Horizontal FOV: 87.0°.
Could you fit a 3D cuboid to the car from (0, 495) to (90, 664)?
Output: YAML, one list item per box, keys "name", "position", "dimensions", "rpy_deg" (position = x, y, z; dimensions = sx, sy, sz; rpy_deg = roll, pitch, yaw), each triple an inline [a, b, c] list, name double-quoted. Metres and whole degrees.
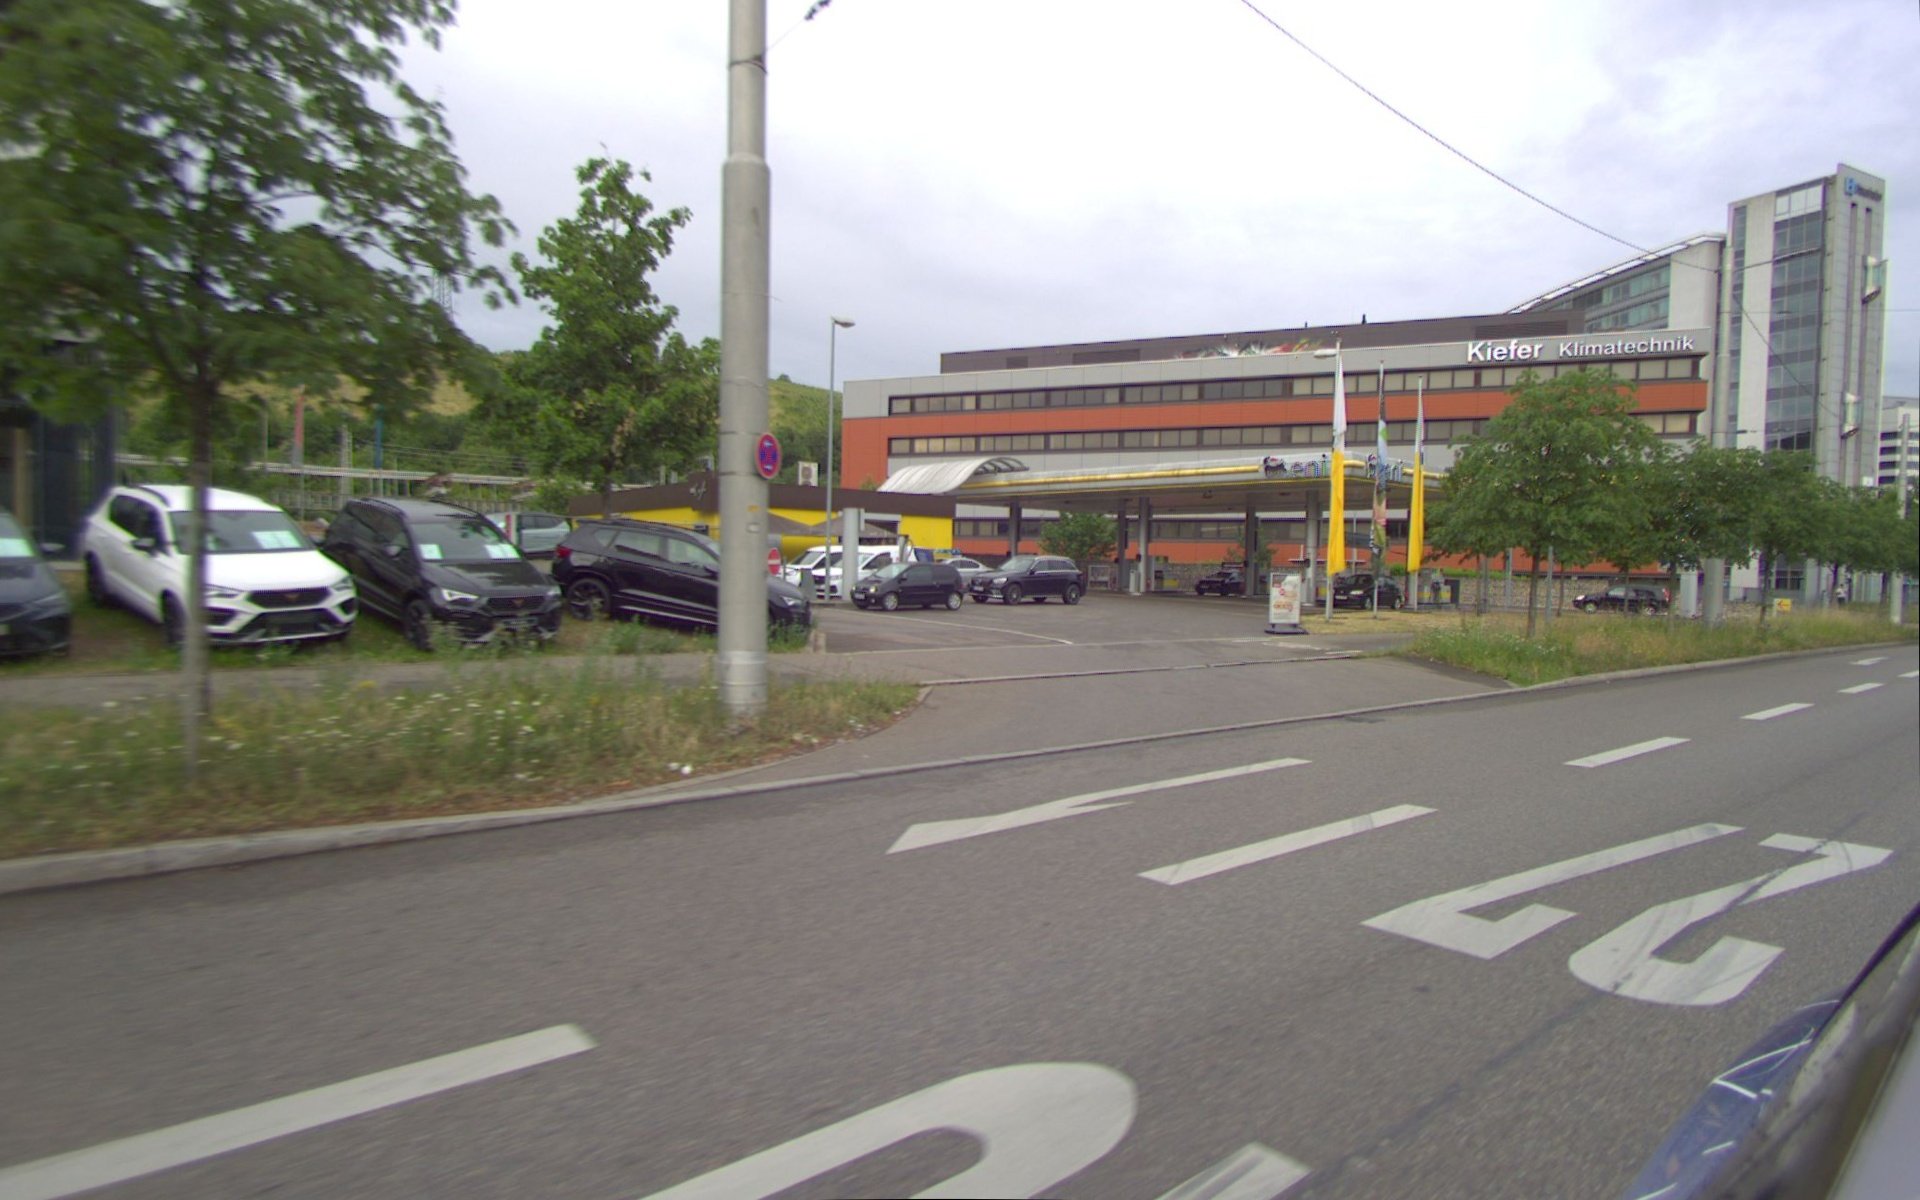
- name: "car"
  position: [-11.288, -0.344, 11.093]
  dimensions: [4.477, 1.657, 1.797]
  rpy_deg: [5, 4, 37]

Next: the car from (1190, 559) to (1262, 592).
- name: "car"
  position: [14.905, -1.355, 56.688]
  dimensions: [3.930, 1.668, 1.903]
  rpy_deg: [0, 6, -41]

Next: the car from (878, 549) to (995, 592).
- name: "car"
  position: [-0.935, -1.210, 42.047]
  dimensions: [4.635, 1.628, 1.998]
  rpy_deg: [0, 3, -41]

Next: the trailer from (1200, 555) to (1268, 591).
- name: "trailer"
  position: [17.866, -1.786, 65.965]
  dimensions: [3.958, 2.173, 1.824]
  rpy_deg: [3, 2, 25]

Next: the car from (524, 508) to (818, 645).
- name: "car"
  position: [-4.605, -0.402, 16.691]
  dimensions: [4.303, 1.838, 1.882]
  rpy_deg: [4, 3, -5]

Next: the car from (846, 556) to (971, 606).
- name: "car"
  position: [-1.474, -0.546, 29.435]
  dimensions: [3.426, 1.354, 1.395]
  rpy_deg: [0, 3, -38]

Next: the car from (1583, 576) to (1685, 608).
- name: "car"
  position: [35.649, -0.407, 53.670]
  dimensions: [4.321, 1.667, 1.776]
  rpy_deg: [0, 0, 29]

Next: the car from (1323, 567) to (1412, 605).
- name: "car"
  position: [16.829, -0.578, 41.728]
  dimensions: [3.714, 1.436, 1.784]
  rpy_deg: [0, 3, -40]

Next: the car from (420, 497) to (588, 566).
- name: "car"
  position: [-12.524, -1.846, 28.124]
  dimensions: [1.821, 1.664, 4.291]
  rpy_deg: [2, 1, 18]

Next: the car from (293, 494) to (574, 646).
- name: "car"
  position: [-7.507, -0.512, 14.250]
  dimensions: [4.368, 1.811, 1.854]
  rpy_deg: [5, 4, 38]

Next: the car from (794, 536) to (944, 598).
- name: "car"
  position: [-2.944, -1.070, 33.407]
  dimensions: [4.634, 1.882, 1.998]
  rpy_deg: [0, 3, -41]

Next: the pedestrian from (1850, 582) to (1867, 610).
- name: "pedestrian"
  position: [62.305, -0.247, 70.196]
  dimensions: [0.675, 1.925, 0.673]
  rpy_deg: [0, -1, 26]

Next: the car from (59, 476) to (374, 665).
- name: "car"
  position: [-9.475, -0.475, 12.782]
  dimensions: [4.470, 2.015, 1.800]
  rpy_deg: [4, 3, 34]

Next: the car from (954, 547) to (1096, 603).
- name: "car"
  position: [2.267, -0.846, 34.725]
  dimensions: [4.629, 1.757, 2.000]
  rpy_deg: [0, 3, -36]

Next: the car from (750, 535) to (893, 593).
- name: "car"
  position: [-4.836, -1.248, 35.778]
  dimensions: [4.634, 1.882, 1.998]
  rpy_deg: [0, 3, -41]
